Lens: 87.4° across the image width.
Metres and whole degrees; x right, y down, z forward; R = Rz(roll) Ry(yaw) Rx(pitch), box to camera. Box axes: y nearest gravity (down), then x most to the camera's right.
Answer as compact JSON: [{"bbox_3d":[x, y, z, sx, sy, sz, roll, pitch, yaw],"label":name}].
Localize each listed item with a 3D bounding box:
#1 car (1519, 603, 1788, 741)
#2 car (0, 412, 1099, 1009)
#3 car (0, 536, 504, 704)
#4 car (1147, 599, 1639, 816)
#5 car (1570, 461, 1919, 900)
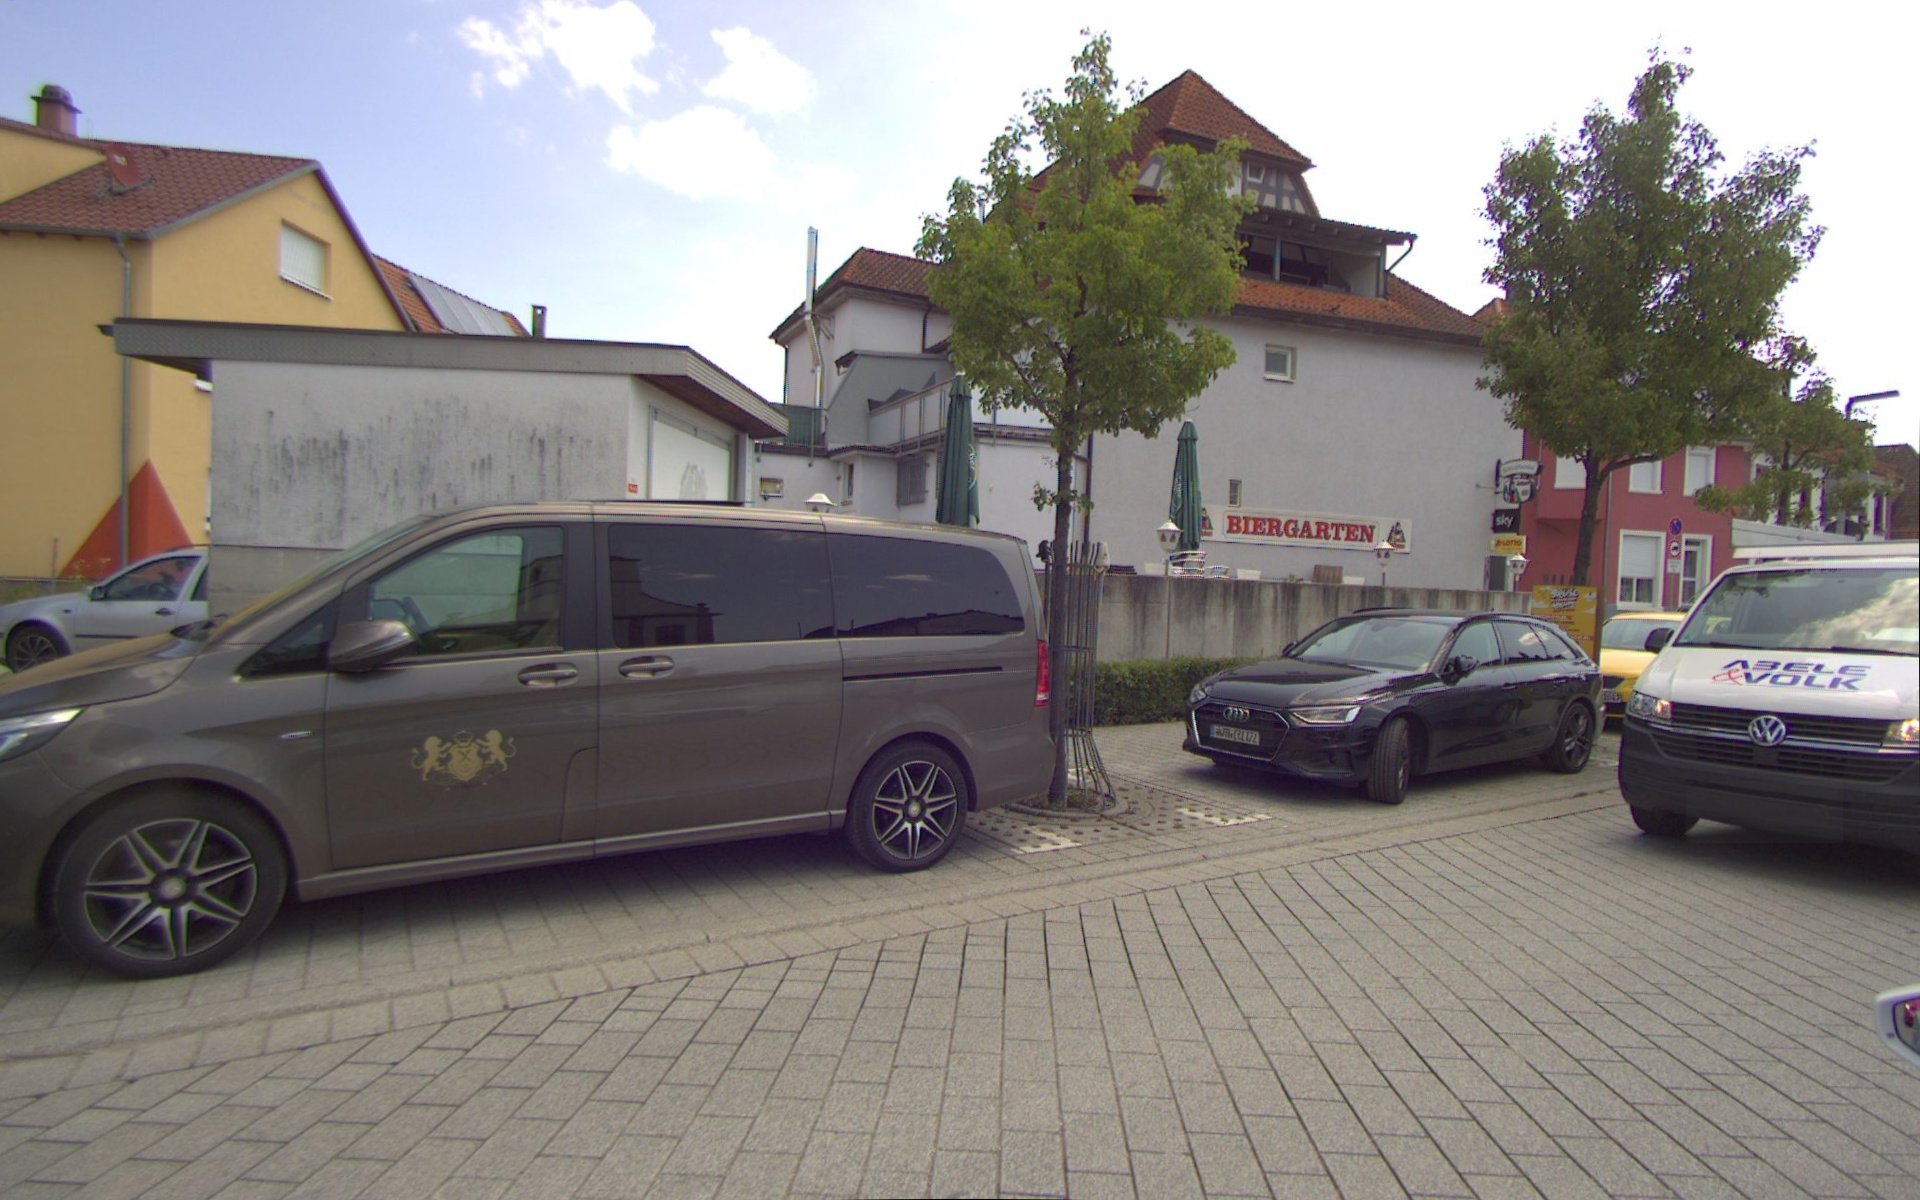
[{"bbox_3d":[9.019,0.827,12.961,3.925,1.494,1.656,1,1,-36],"label":"car"},{"bbox_3d":[-1.864,0.396,5.344,4.985,2.017,1.976,1,1,-30],"label":"car"},{"bbox_3d":[-7.518,0.136,10.754,4.348,1.516,2.000,2,3,3],"label":"car"},{"bbox_3d":[3.940,0.780,8.875,4.489,1.442,1.805,1,1,-33],"label":"car"},{"bbox_3d":[6.502,0.444,7.083,4.979,2.215,1.875,1,0,-35],"label":"car"}]
